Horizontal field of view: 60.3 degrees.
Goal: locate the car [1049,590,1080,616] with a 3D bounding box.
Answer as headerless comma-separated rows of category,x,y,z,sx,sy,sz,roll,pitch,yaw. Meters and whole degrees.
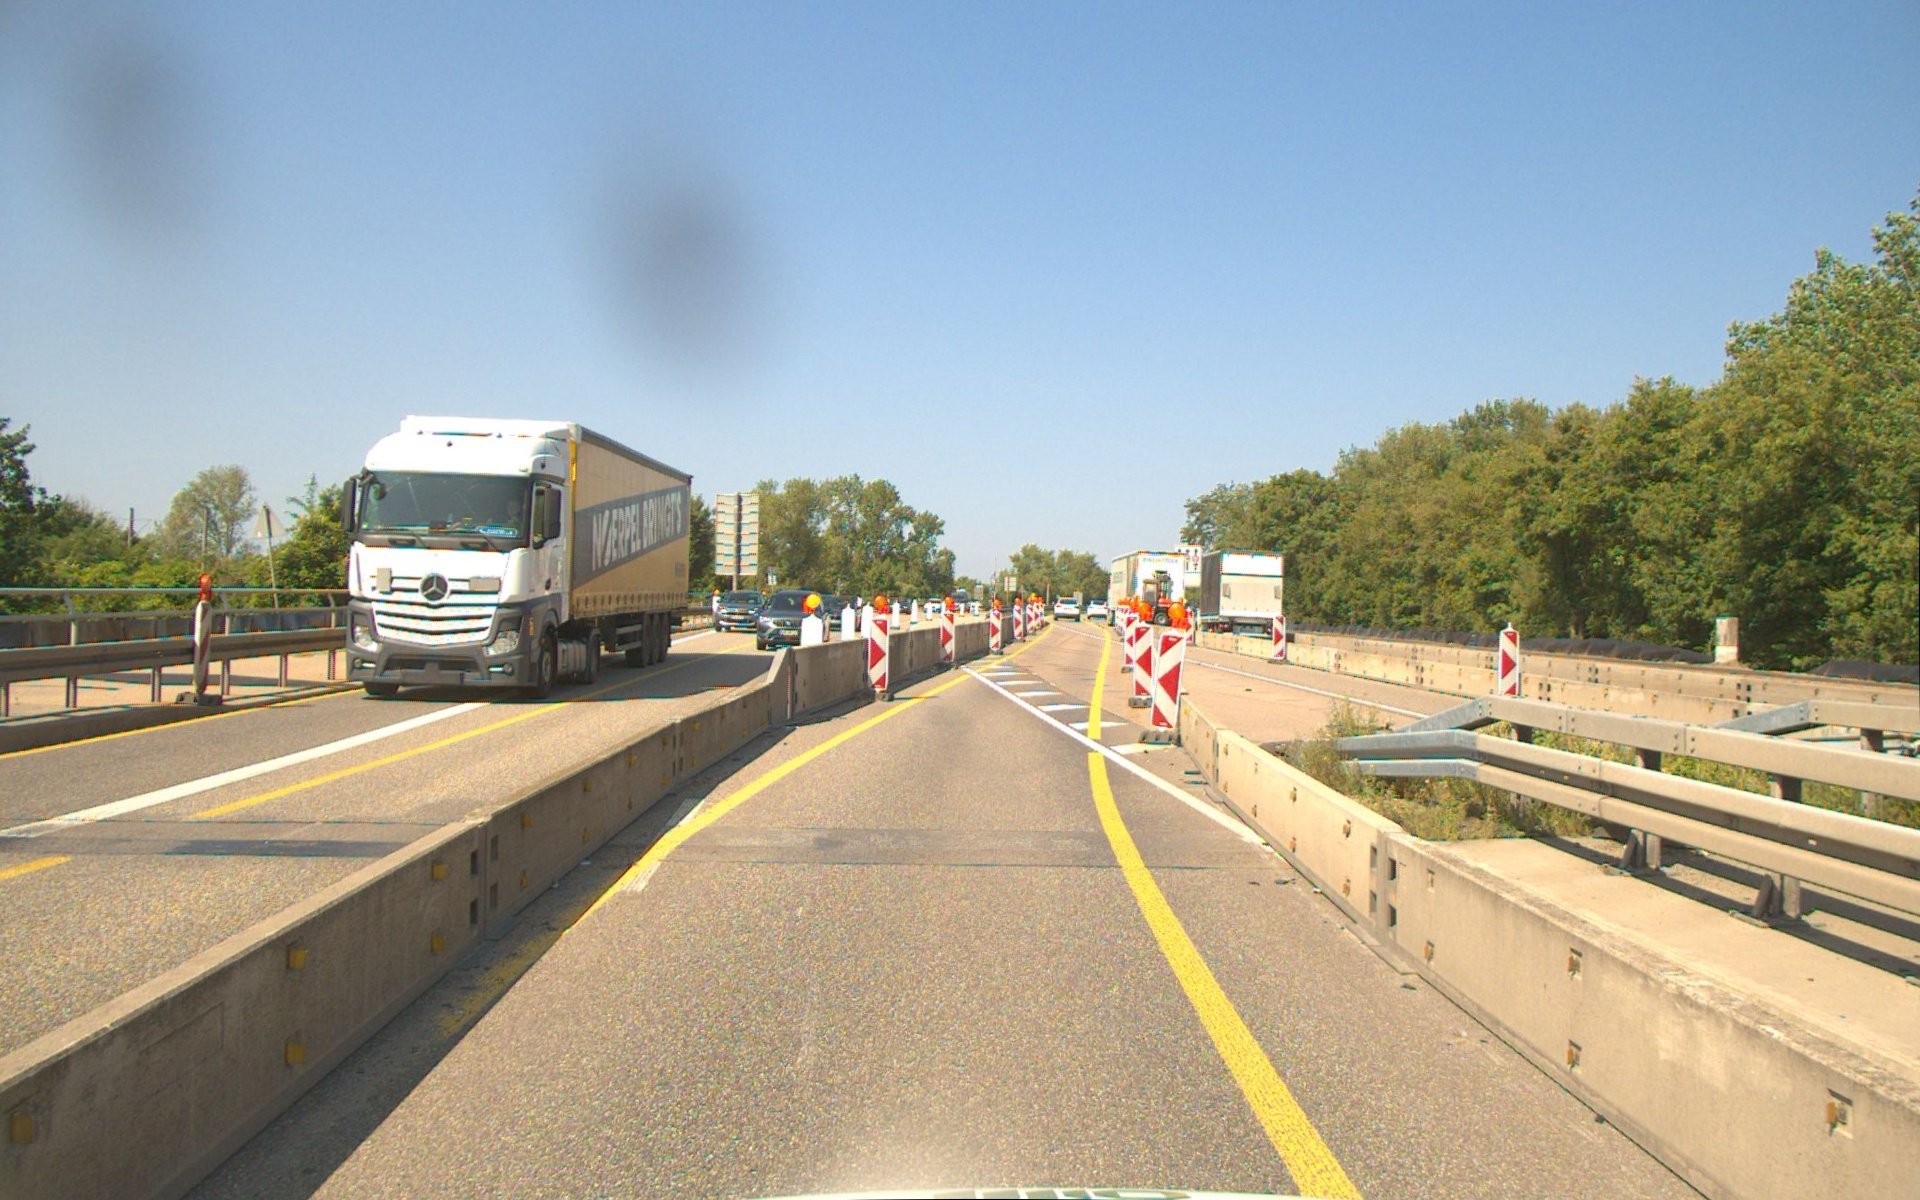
car,7.329,0.192,116.677,1.780,1.807,3.998,0,0,-2

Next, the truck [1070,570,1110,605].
truck,16.241,-1.535,207.581,4.134,4.341,10.240,0,0,0

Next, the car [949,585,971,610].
car,0.028,-0.283,191.270,2.101,2.707,5.549,1,0,4

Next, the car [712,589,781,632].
car,-7.986,0.362,62.255,1.892,1.534,4.470,1,0,2

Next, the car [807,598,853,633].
car,-5.479,0.632,70.099,1.655,1.400,4.272,1,0,-1

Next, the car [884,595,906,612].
car,-5.766,0.313,147.616,1.702,1.502,4.645,1,0,0

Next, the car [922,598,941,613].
car,-2.960,0.553,172.437,1.683,1.421,4.520,2,0,1

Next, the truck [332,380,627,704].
truck,-6.918,-0.757,24.799,2.694,4.209,6.413,0,0,-2

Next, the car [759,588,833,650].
car,-4.429,0.477,45.105,1.754,1.596,3.871,1,0,-2

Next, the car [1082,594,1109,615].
car,11.830,0.428,144.673,1.953,1.807,3.998,0,0,-2

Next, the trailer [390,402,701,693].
trailer,-7.144,-0.766,31.269,2.705,4.209,14.525,0,0,-2

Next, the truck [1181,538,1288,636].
truck,10.285,-0.491,62.555,2.581,3.487,7.230,0,0,-2

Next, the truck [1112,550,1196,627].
truck,10.063,-0.579,86.575,3.320,3.840,7.230,0,0,-2
